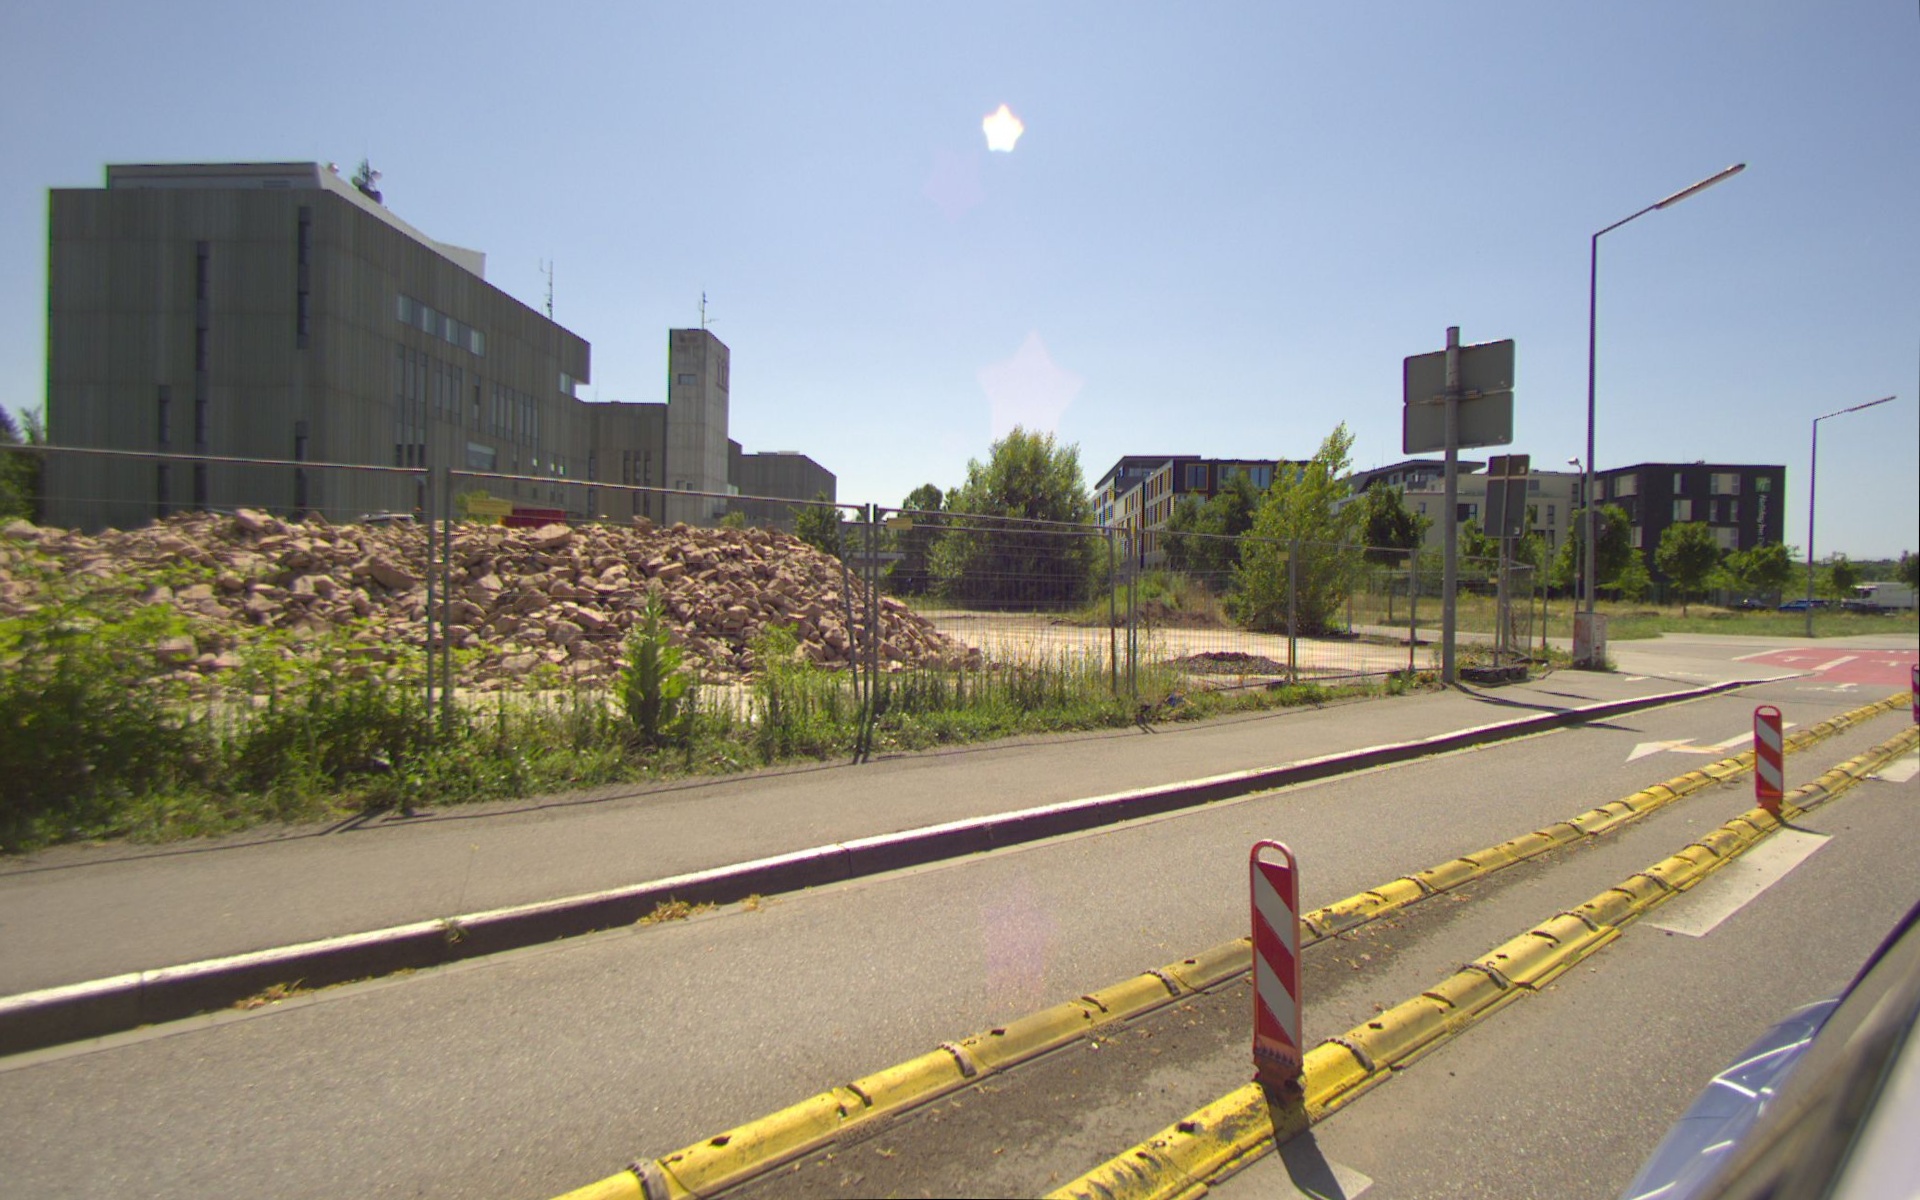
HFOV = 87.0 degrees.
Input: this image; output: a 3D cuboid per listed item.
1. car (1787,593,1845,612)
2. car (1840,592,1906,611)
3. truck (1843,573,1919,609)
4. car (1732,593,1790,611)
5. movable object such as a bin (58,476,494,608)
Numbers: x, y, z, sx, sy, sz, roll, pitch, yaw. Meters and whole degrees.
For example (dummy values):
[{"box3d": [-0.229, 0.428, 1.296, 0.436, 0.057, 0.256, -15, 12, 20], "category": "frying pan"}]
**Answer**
[{"box3d": [78.956, 0.196, 93.407, 1.918, 1.672, 4.070, 1, 1, 2], "category": "car"}, {"box3d": [83.493, 0.101, 92.643, 1.994, 1.581, 4.508, 1, 1, 1], "category": "car"}, {"box3d": [97.606, -0.866, 103.135, 11.922, 3.503, 3.017, 1, 3, 4], "category": "truck"}, {"box3d": [74.066, 0.173, 93.687, 1.923, 1.462, 4.130, 1, 1, -4], "category": "car"}, {"box3d": [-20.220, -1.511, 30.499, 10.287, 3.300, 4.948, 0, 1, -41], "category": "movable object such as a bin"}]
